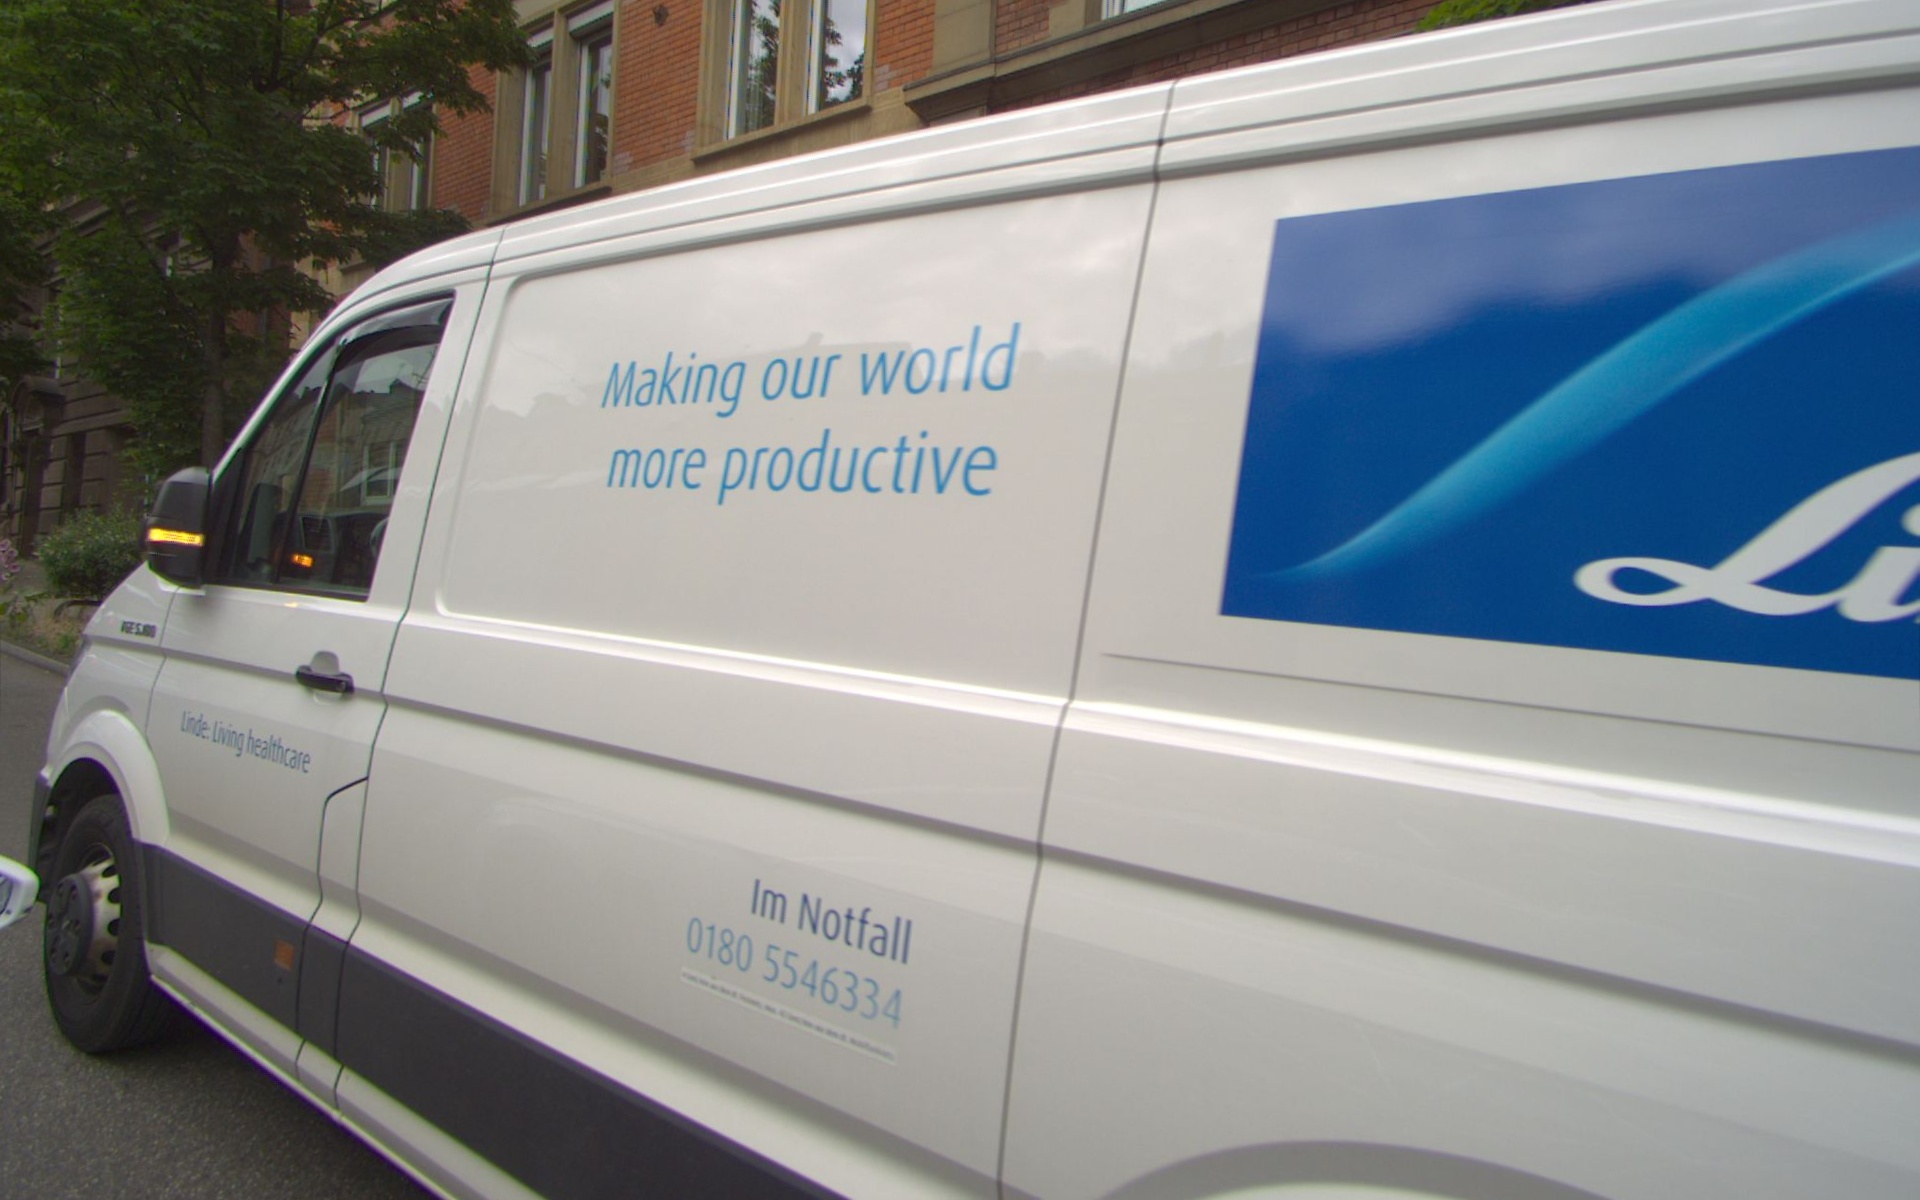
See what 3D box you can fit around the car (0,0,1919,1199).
[{"bbox_3d":[-0.227,0.348,2.687,5.870,2.315,2.260,7,-1,33],"label":"car"}]
